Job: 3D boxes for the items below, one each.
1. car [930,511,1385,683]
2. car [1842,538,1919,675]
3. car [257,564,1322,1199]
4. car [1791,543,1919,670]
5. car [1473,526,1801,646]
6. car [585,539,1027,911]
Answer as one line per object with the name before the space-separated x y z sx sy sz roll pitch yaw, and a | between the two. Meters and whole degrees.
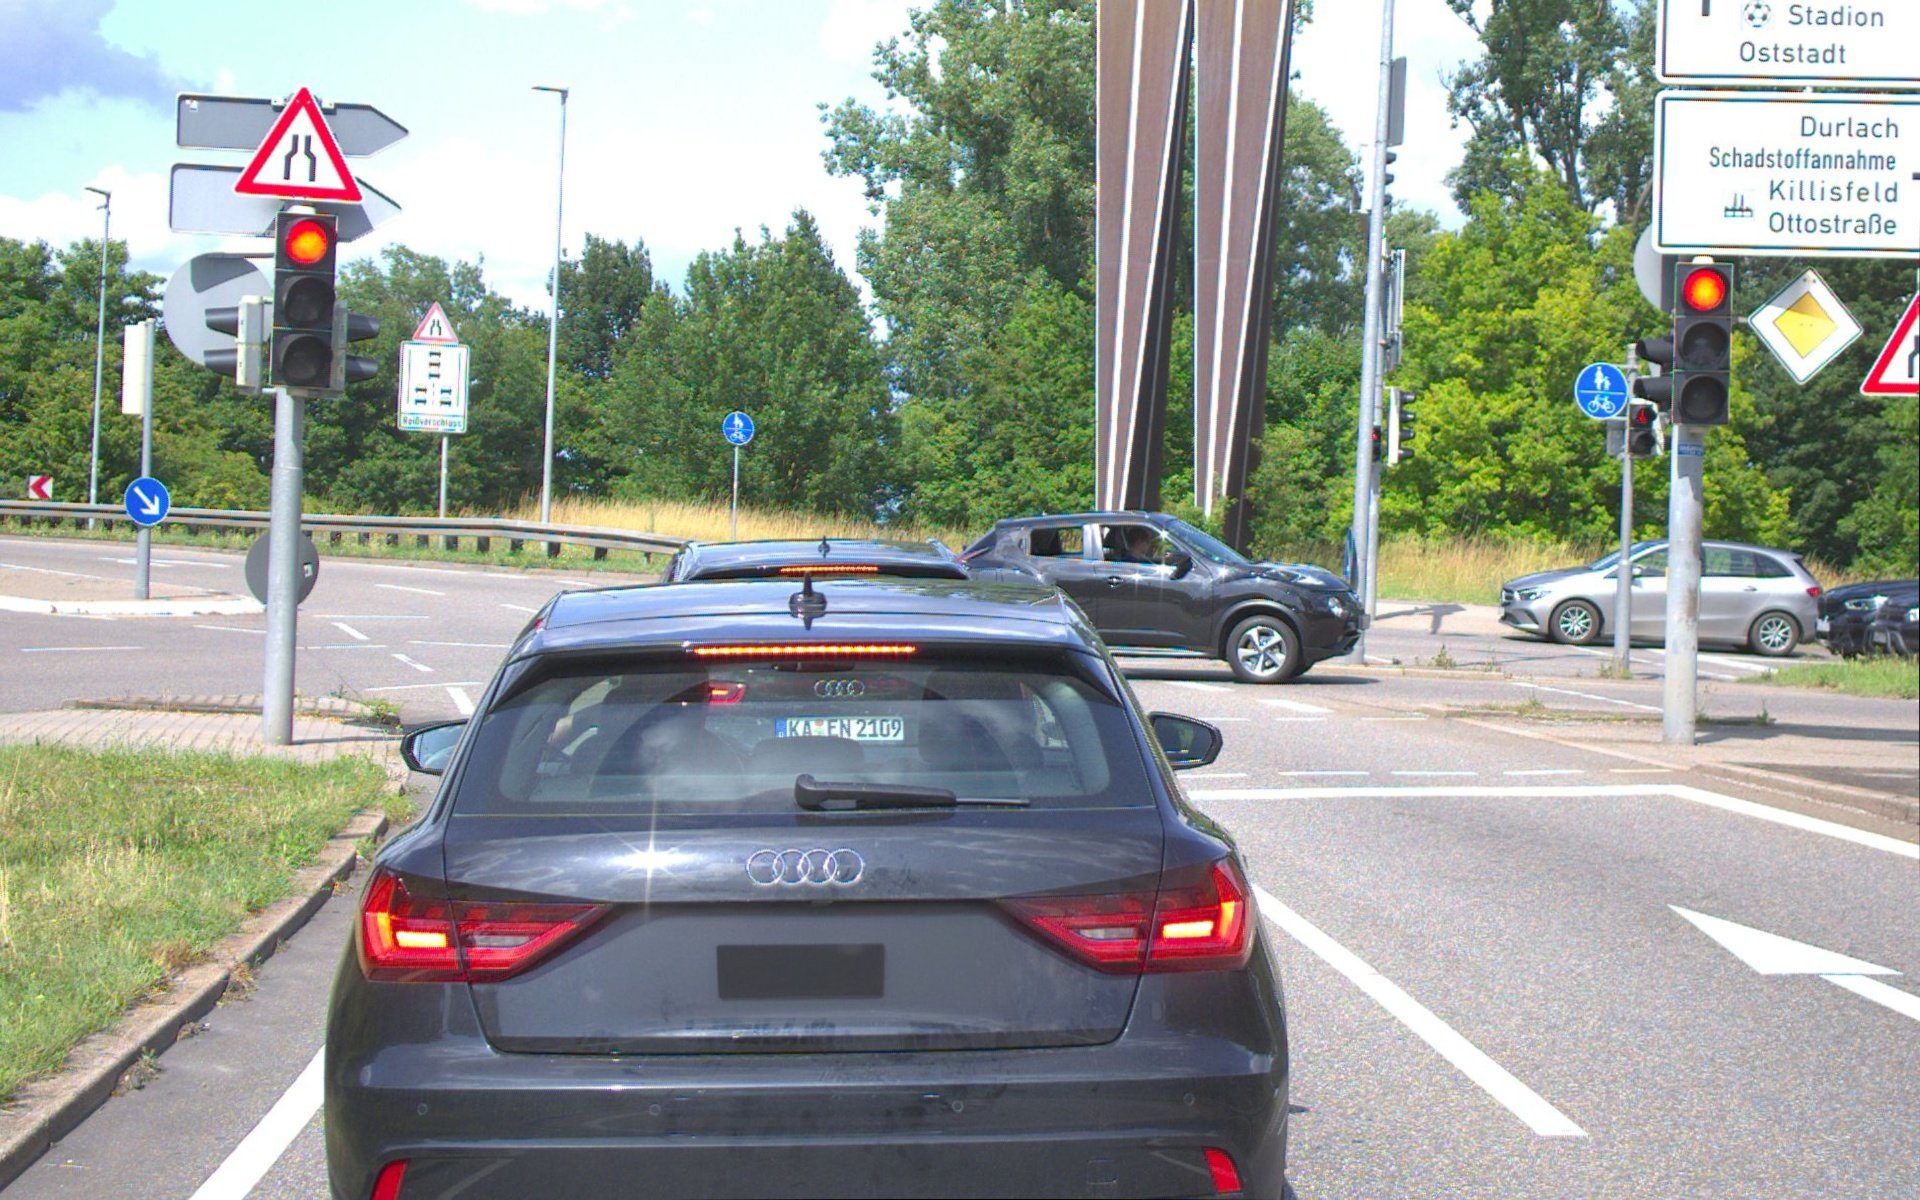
car | 1.889 -0.048 32.346 3.959 1.413 1.952 2 1 13
car | 12.638 0.119 39.927 4.268 1.539 1.737 2 1 -1
car | -0.297 0.653 7.587 1.726 1.399 4.000 0 1 -1
car | 13.246 0.117 43.781 4.847 1.539 1.737 2 1 -1
car | 9.324 -0.211 47.574 4.106 1.491 2.000 2 1 1
car | -0.757 0.454 15.383 1.726 1.418 3.845 0 1 -5
